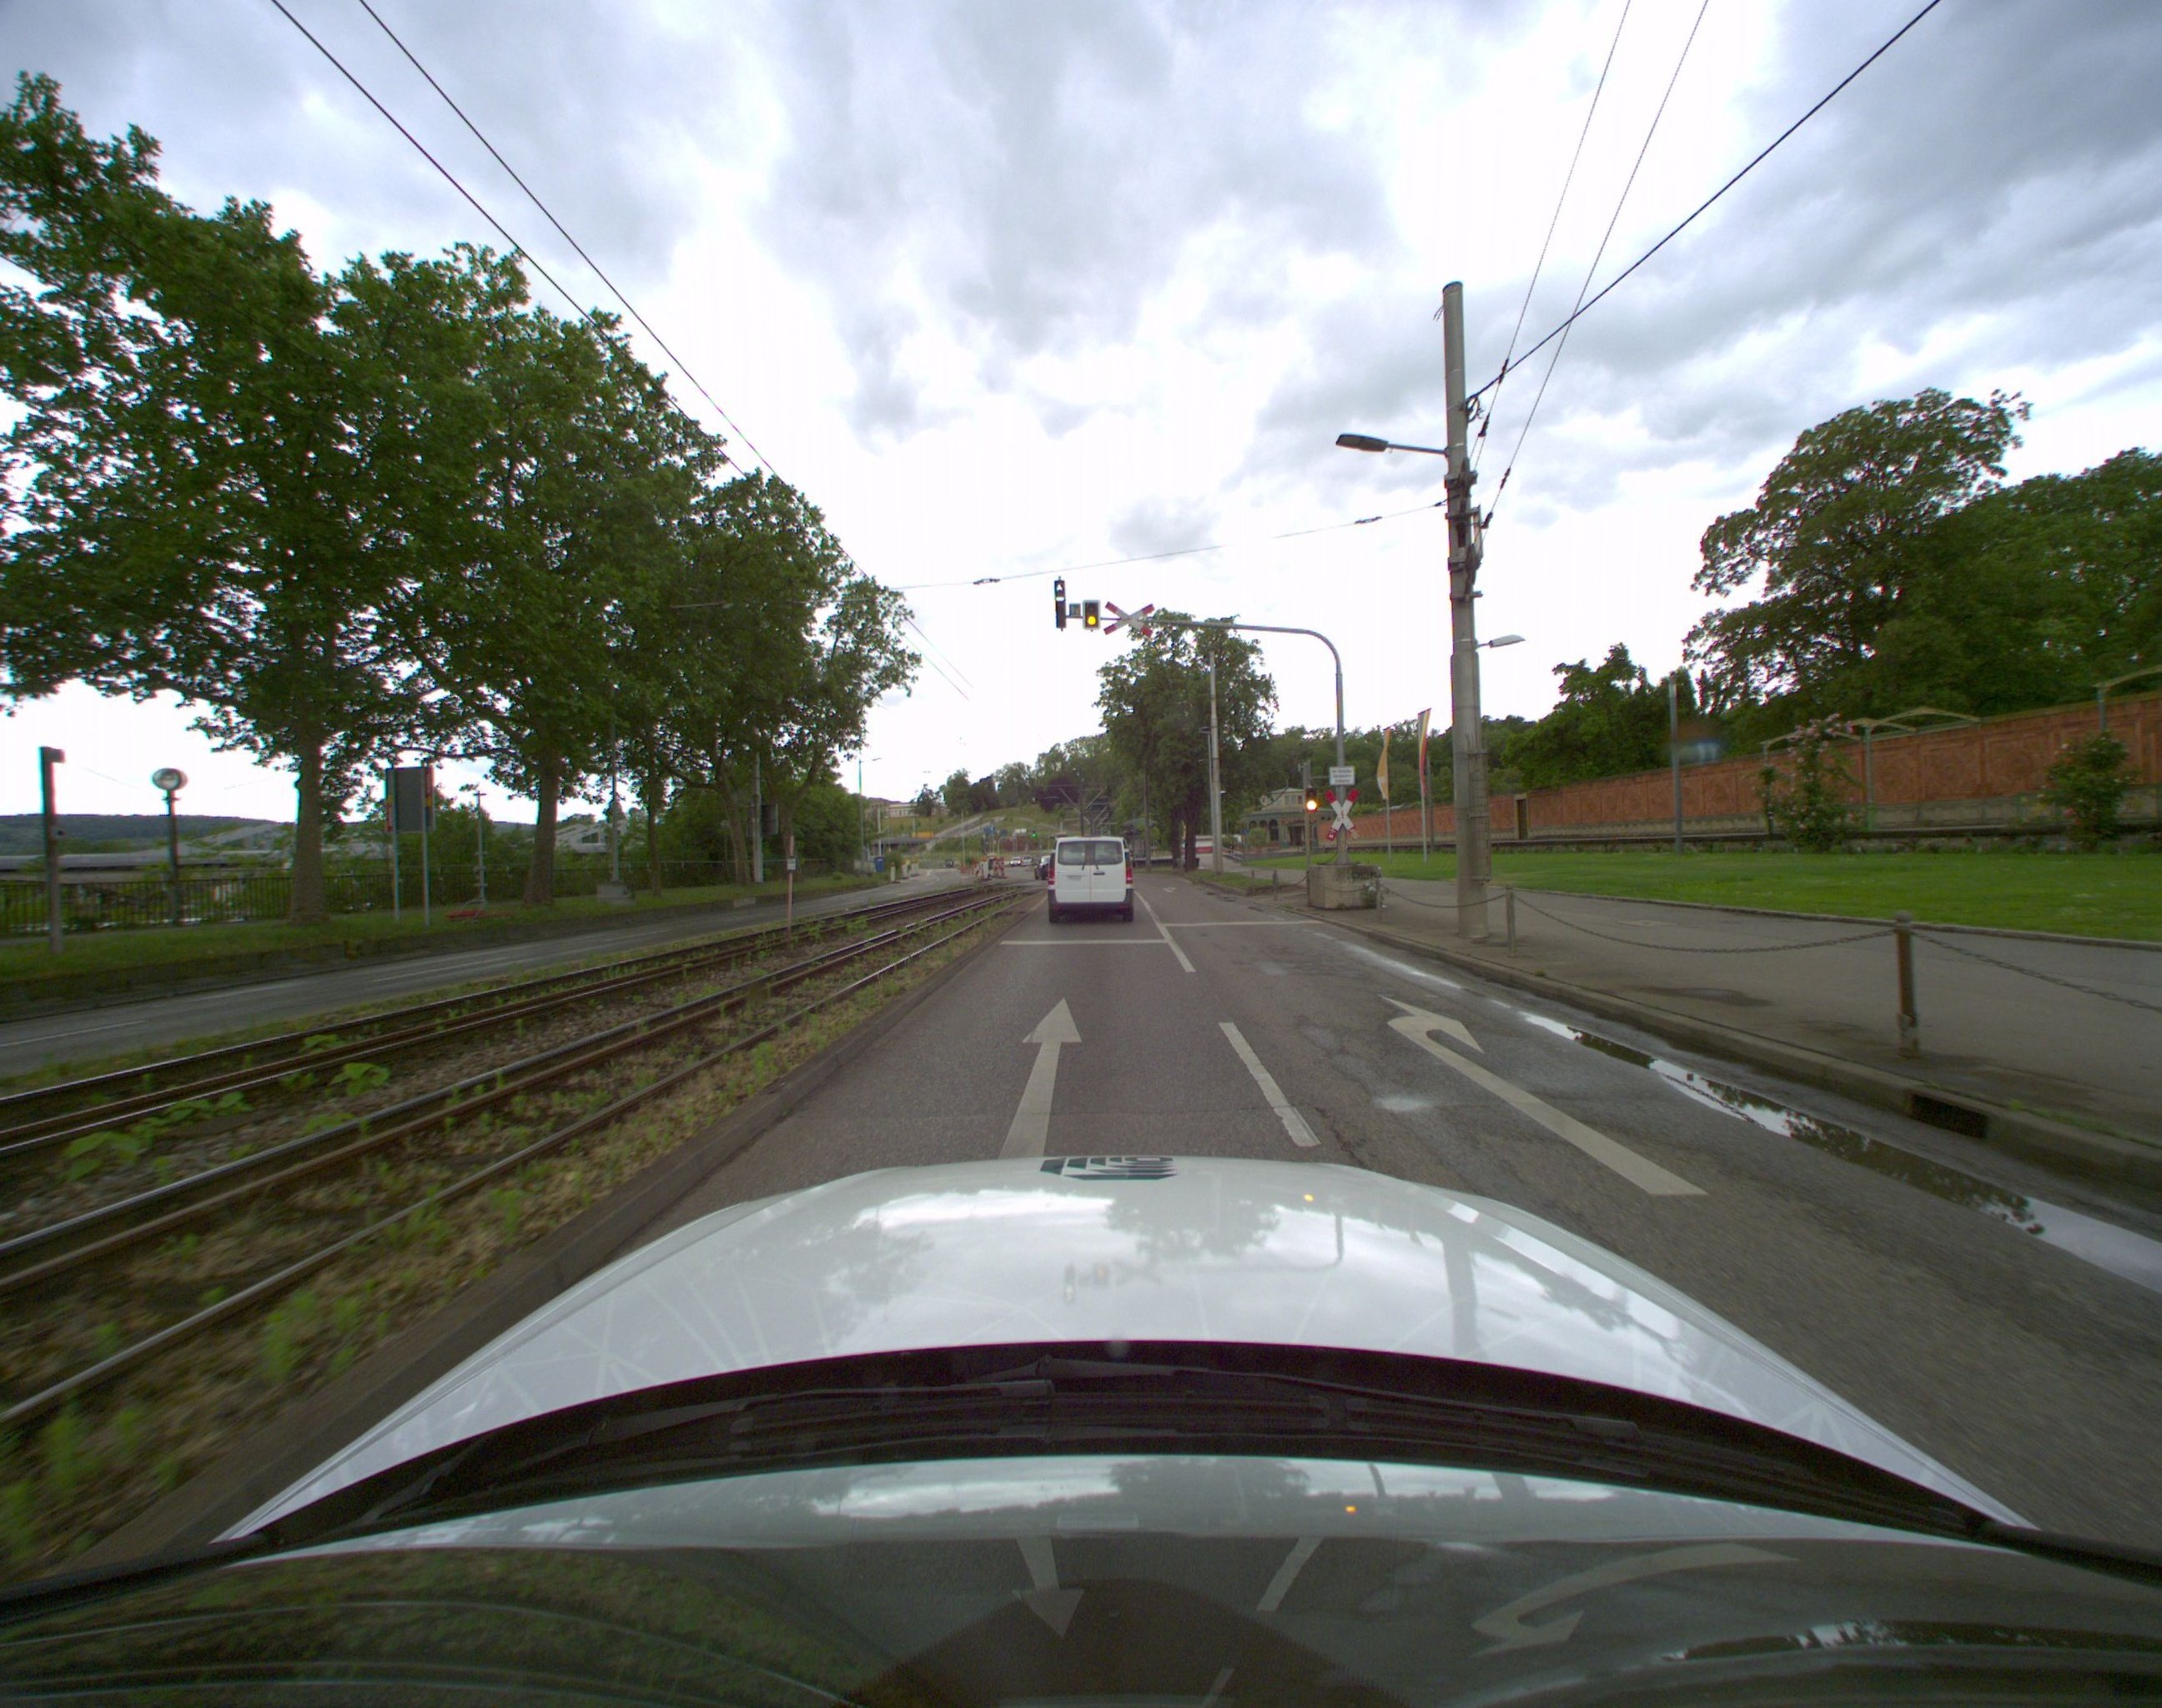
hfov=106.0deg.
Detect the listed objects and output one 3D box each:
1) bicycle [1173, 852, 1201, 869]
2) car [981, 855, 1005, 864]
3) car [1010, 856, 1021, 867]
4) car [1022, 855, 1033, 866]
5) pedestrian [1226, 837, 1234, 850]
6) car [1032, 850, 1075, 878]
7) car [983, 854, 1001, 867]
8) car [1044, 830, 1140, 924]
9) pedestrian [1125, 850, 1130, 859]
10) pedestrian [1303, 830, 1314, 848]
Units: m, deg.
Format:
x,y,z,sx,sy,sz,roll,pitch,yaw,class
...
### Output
x,y,z,sx,sy,sz,roll,pitch,yaw,class
7.772,0.471,59.707,1.981,1.158,0.742,-3,0,6,bicycle
-18.995,1.197,176.465,4.677,1.477,2.007,-3,1,12,car
-12.165,1.469,151.151,1.929,2.014,3.997,0,-1,-2,car
-8.891,1.089,135.779,1.749,1.772,3.995,0,-1,-3,car
14.453,-1.018,78.931,0.547,1.201,0.668,0,-1,-4,pedestrian
-1.723,0.612,49.682,1.841,1.582,4.043,-1,0,-14,car
-10.631,0.814,96.791,1.838,1.467,4.048,-1,0,-10,car
0.286,0.492,19.051,1.952,1.904,4.463,-1,0,1,car
6.748,0.074,118.867,0.654,1.191,0.676,0,-1,4,pedestrian
23.229,-1.504,83.227,0.944,1.838,0.551,0,-1,7,pedestrian
